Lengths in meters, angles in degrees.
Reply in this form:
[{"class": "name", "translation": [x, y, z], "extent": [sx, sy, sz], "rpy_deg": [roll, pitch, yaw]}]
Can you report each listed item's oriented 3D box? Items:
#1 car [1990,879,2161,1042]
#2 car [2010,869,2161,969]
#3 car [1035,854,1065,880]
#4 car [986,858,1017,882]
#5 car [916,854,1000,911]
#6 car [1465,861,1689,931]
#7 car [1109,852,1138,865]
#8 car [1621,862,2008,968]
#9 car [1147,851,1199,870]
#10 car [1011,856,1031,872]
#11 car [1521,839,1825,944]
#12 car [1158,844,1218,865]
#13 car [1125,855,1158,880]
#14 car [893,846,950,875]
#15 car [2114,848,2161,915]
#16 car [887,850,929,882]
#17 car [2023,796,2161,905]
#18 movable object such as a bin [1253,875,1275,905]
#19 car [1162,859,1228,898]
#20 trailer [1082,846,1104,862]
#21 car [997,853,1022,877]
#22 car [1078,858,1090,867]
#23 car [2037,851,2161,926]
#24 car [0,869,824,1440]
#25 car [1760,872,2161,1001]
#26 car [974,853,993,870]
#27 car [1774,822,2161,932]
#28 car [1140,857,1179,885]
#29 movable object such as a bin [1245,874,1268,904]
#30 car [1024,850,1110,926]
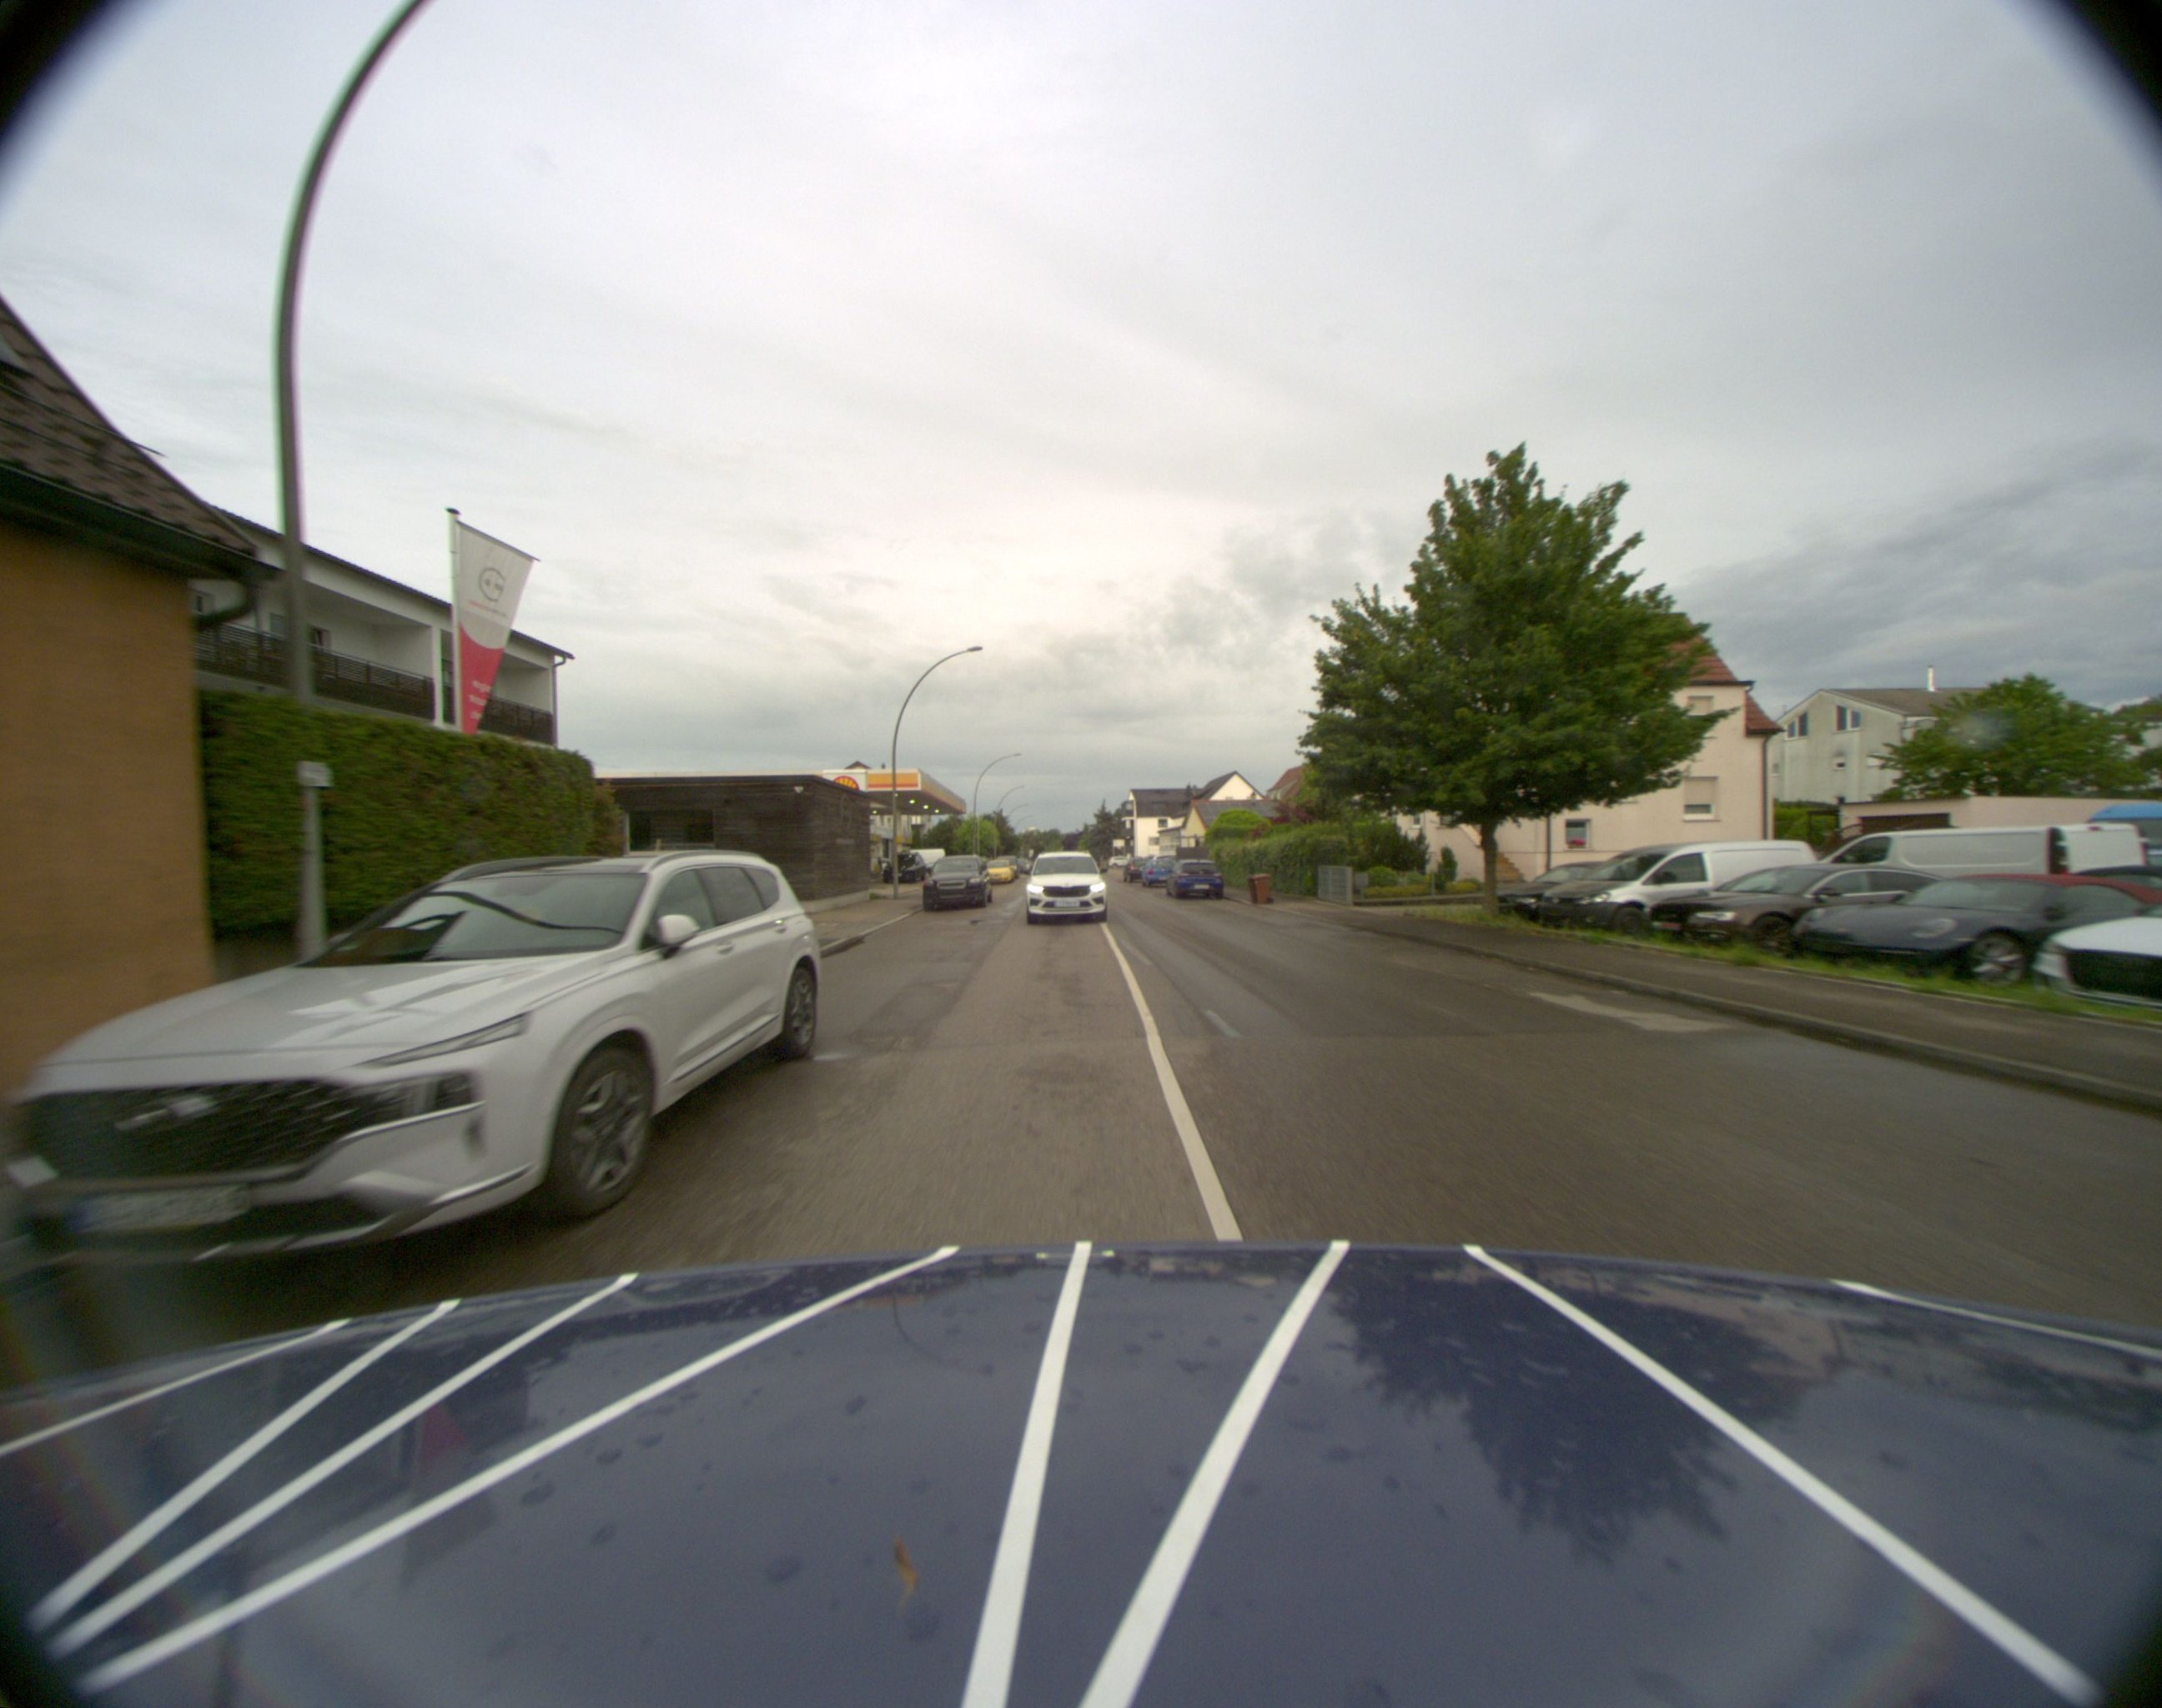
[{"class": "car", "translation": [11.634, 0.936, 7.017], "extent": [4.388, 1.366, 1.888], "rpy_deg": [-1, 0, -2]}, {"class": "car", "translation": [16.296, 0.952, 11.099], "extent": [1.340, 1.407, 3.227], "rpy_deg": [-1, 0, -25]}, {"class": "car", "translation": [-1.985, 0.798, 48.684], "extent": [1.778, 1.552, 3.999], "rpy_deg": [-2, 0, -3]}, {"class": "car", "translation": [-4.930, 0.989, 47.261], "extent": [1.661, 1.393, 3.800], "rpy_deg": [-1, 0, -3]}, {"class": "car", "translation": [-3.967, 0.905, 25.315], "extent": [2.096, 1.652, 4.559], "rpy_deg": [-2, -1, -1]}, {"class": "car", "translation": [10.851, 0.884, 16.766], "extent": [3.923, 1.364, 1.760], "rpy_deg": [-1, 0, -6]}, {"class": "car", "translation": [6.273, 0.680, 113.042], "extent": [3.998, 1.637, 1.999], "rpy_deg": [-5, 0, -4]}, {"class": "car", "translation": [11.336, 0.876, 11.927], "extent": [4.571, 1.410, 1.897], "rpy_deg": [-1, 0, -6]}, {"class": "car", "translation": [7.857, 0.557, 65.062], "extent": [4.096, 1.505, 1.882], "rpy_deg": [-1, 0, -6]}, {"class": "car", "translation": [-6.230, 1.069, 78.934], "extent": [1.999, 1.586, 3.999], "rpy_deg": [-1, -1, -4]}, {"class": "car", "translation": [11.187, 0.657, 14.532], "extent": [4.571, 1.779, 1.897], "rpy_deg": [-1, 0, -6]}, {"class": "car", "translation": [7.908, 0.035, 56.421], "extent": [4.096, 1.405, 1.713], "rpy_deg": [-2, 0, -5]}, {"class": "car", "translation": [3.732, 0.788, 47.492], "extent": [1.613, 1.497, 3.706], "rpy_deg": [0, 0, -2]}, {"class": "car", "translation": [-14.763, 0.605, 70.278], "extent": [4.810, 2.505, 2.243], "rpy_deg": [-1, 0, -24]}, {"class": "car", "translation": [23.207, 0.534, 15.304], "extent": [3.232, 1.325, 1.337], "rpy_deg": [-1, 0, -4]}, {"class": "car", "translation": [-9.985, 0.663, 44.085], "extent": [1.825, 1.749, 3.998], "rpy_deg": [0, 0, -5]}, {"class": "car", "translation": [26.003, -0.148, 17.731], "extent": [5.685, 2.361, 2.046], "rpy_deg": [-2, 0, -2]}, {"class": "movable object such as a bin", "translation": [5.790, 1.131, 24.034], "extent": [0.541, 0.905, 0.424], "rpy_deg": [-4, 1, -3]}, {"class": "car", "translation": [4.314, 0.895, 29.274], "extent": [1.812, 1.395, 3.943], "rpy_deg": [0, 0, -2]}, {"class": "trailer", "translation": [2.350, -0.032, 148.673], "extent": [4.060, 3.028, 2.168], "rpy_deg": [-2, 0, -1]}, {"class": "car", "translation": [-5.415, 0.811, 57.954], "extent": [1.661, 1.728, 4.443], "rpy_deg": [-3, 0, -3]}, {"class": "car", "translation": [0.524, 1.395, 126.381], "extent": [1.740, 1.496, 3.870], "rpy_deg": [-1, -1, -2]}, {"class": "car", "translation": [20.174, 0.622, 13.900], "extent": [1.389, 1.325, 3.114], "rpy_deg": [-1, 0, -4]}, {"class": "car", "translation": [-3.140, 0.983, 4.525], "extent": [1.871, 1.655, 4.319], "rpy_deg": [-2, 0, -3]}, {"class": "car", "translation": [11.495, 0.934, 9.415], "extent": [4.570, 1.302, 1.888], "rpy_deg": [-1, 0, -2]}, {"class": "car", "translation": [-10.353, 0.792, 80.794], "extent": [2.000, 1.673, 3.998], "rpy_deg": [-1, 0, -7]}, {"class": "car", "translation": [17.865, 0.400, 15.839], "extent": [1.999, 1.919, 5.051], "rpy_deg": [0, 0, -4]}, {"class": "car", "translation": [4.061, 0.843, 39.845], "extent": [1.550, 1.395, 3.596], "rpy_deg": [0, 0, -2]}, {"class": "movable object such as a bin", "translation": [5.666, 1.125, 24.492], "extent": [0.541, 0.905, 0.505], "rpy_deg": [-4, 1, -3]}, {"class": "car", "translation": [-0.397, 0.770, 19.146], "extent": [1.884, 1.650, 4.830], "rpy_deg": [-1, -1, -2]}]
